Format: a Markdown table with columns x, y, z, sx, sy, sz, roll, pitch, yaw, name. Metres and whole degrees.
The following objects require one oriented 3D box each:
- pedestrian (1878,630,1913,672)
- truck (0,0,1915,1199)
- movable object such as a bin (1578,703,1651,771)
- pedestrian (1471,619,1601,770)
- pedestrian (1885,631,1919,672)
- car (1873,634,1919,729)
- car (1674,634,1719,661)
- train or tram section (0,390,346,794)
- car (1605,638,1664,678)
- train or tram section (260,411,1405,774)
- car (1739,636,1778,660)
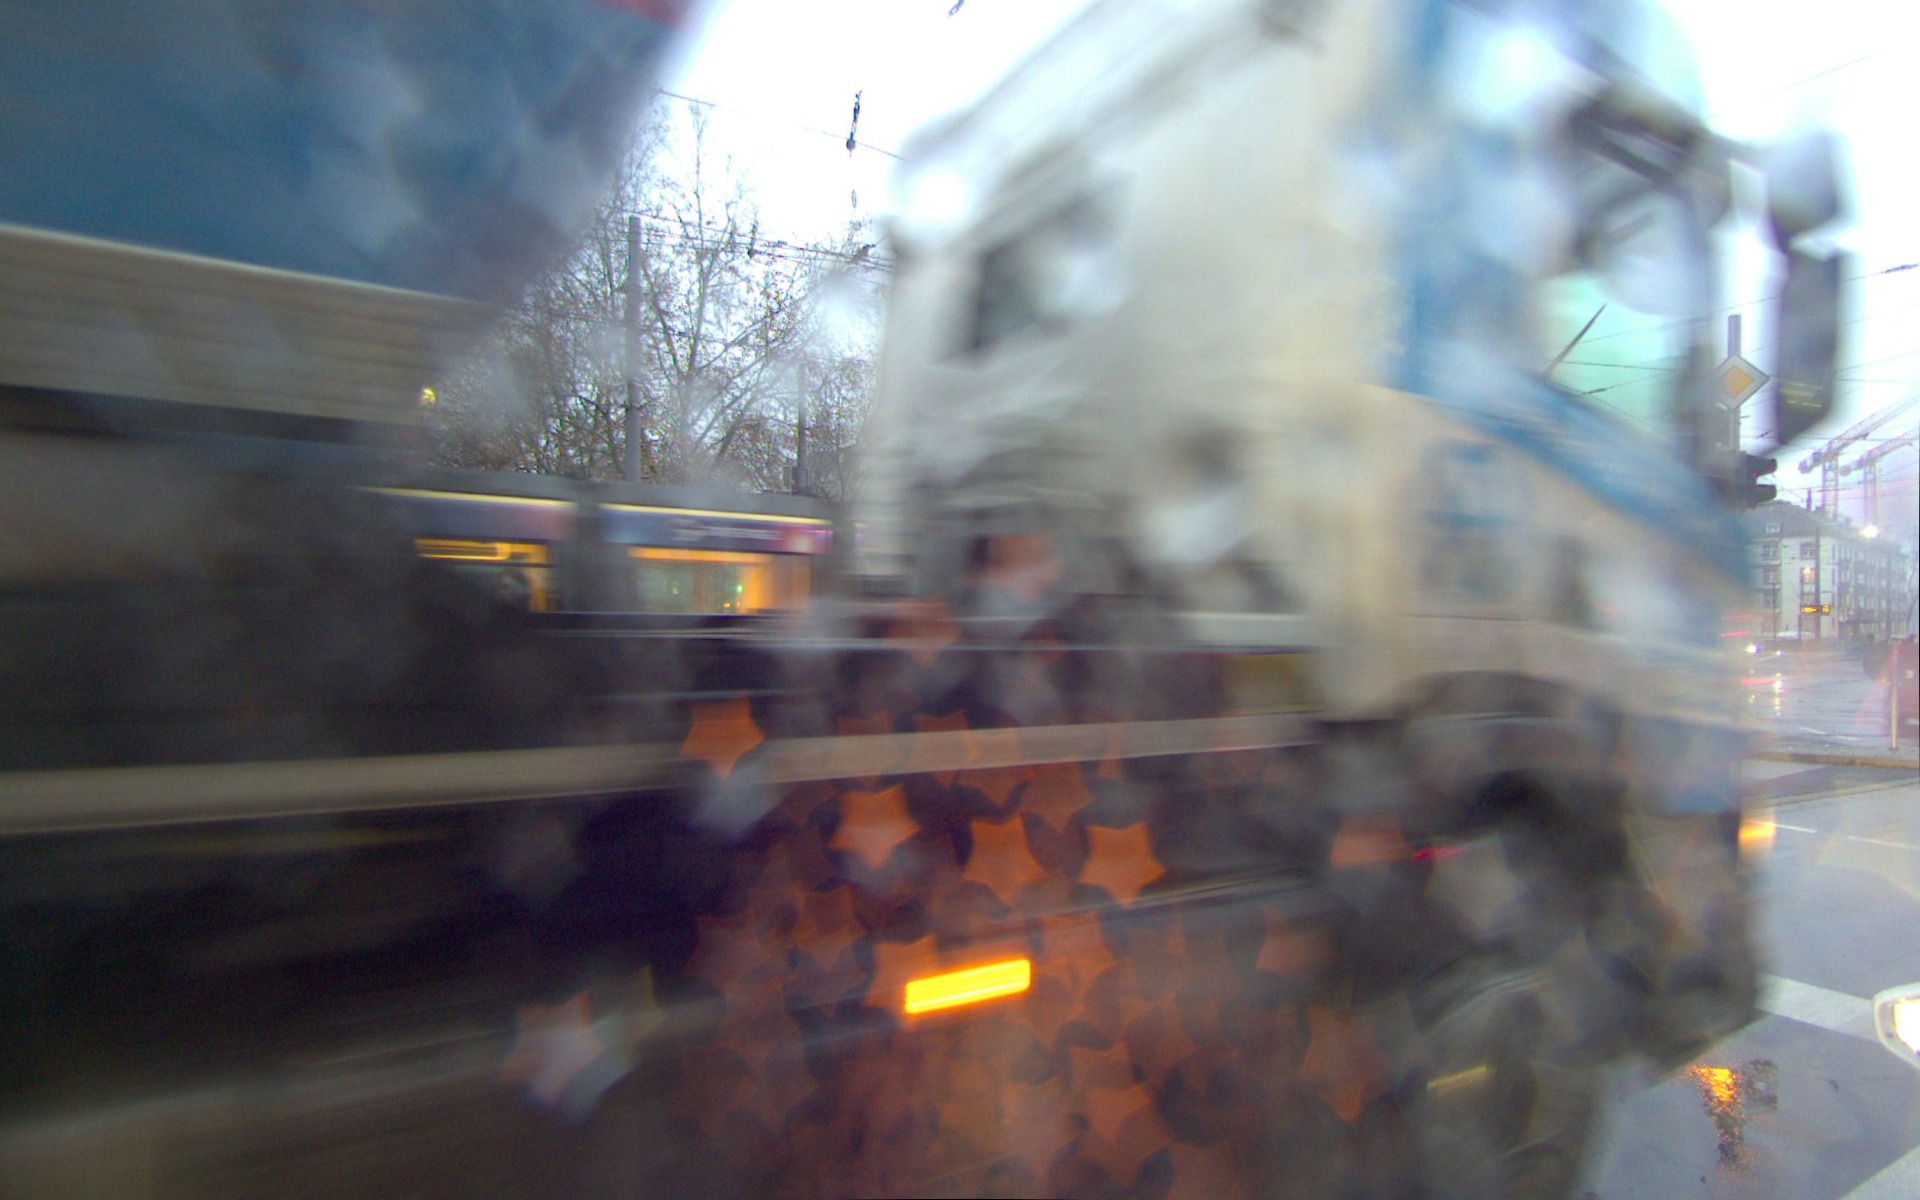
| x | y | z | sx | sy | sz | roll | pitch | yaw | name |
| --- | --- | --- | --- | --- | --- | --- | --- | --- | --- |
| 46.580 | 2.542 | 49.995 | 0.820 | 2.040 | 0.980 | 1 | -1 | -15 | pedestrian |
| -1.327 | -0.249 | 1.975 | 7.441 | 3.681 | 2.825 | 1 | -1 | -31 | truck |
| 7.210 | 1.503 | 11.074 | 0.527 | 0.708 | 0.413 | 1 | -3 | 4 | movable object such as a bin |
| 6.424 | 1.040 | 11.247 | 1.016 | 1.621 | 0.716 | 0 | -3 | 3 | pedestrian |
| 47.453 | 2.575 | 50.586 | 0.820 | 2.040 | 0.980 | 1 | -1 | -15 | pedestrian |
| 16.691 | 1.329 | 16.792 | 1.675 | 1.478 | 3.745 | 0 | -2 | 36 | car |
| 48.819 | 3.134 | 66.564 | 3.839 | 1.645 | 1.769 | 2 | -1 | -43 | car |
| -15.663 | -0.214 | 6.498 | 19.844 | 3.662 | 2.850 | 2 | -2 | -32 | train or tram section |
| 29.521 | 2.490 | 44.038 | 2.016 | 1.582 | 4.821 | 0 | -2 | 33 | car |
| 0.254 | 0.179 | 16.448 | 19.002 | 3.662 | 2.849 | 2 | -2 | -32 | train or tram section |
| 59.494 | 3.542 | 74.829 | 3.839 | 1.645 | 1.769 | 2 | -1 | -43 | car |
